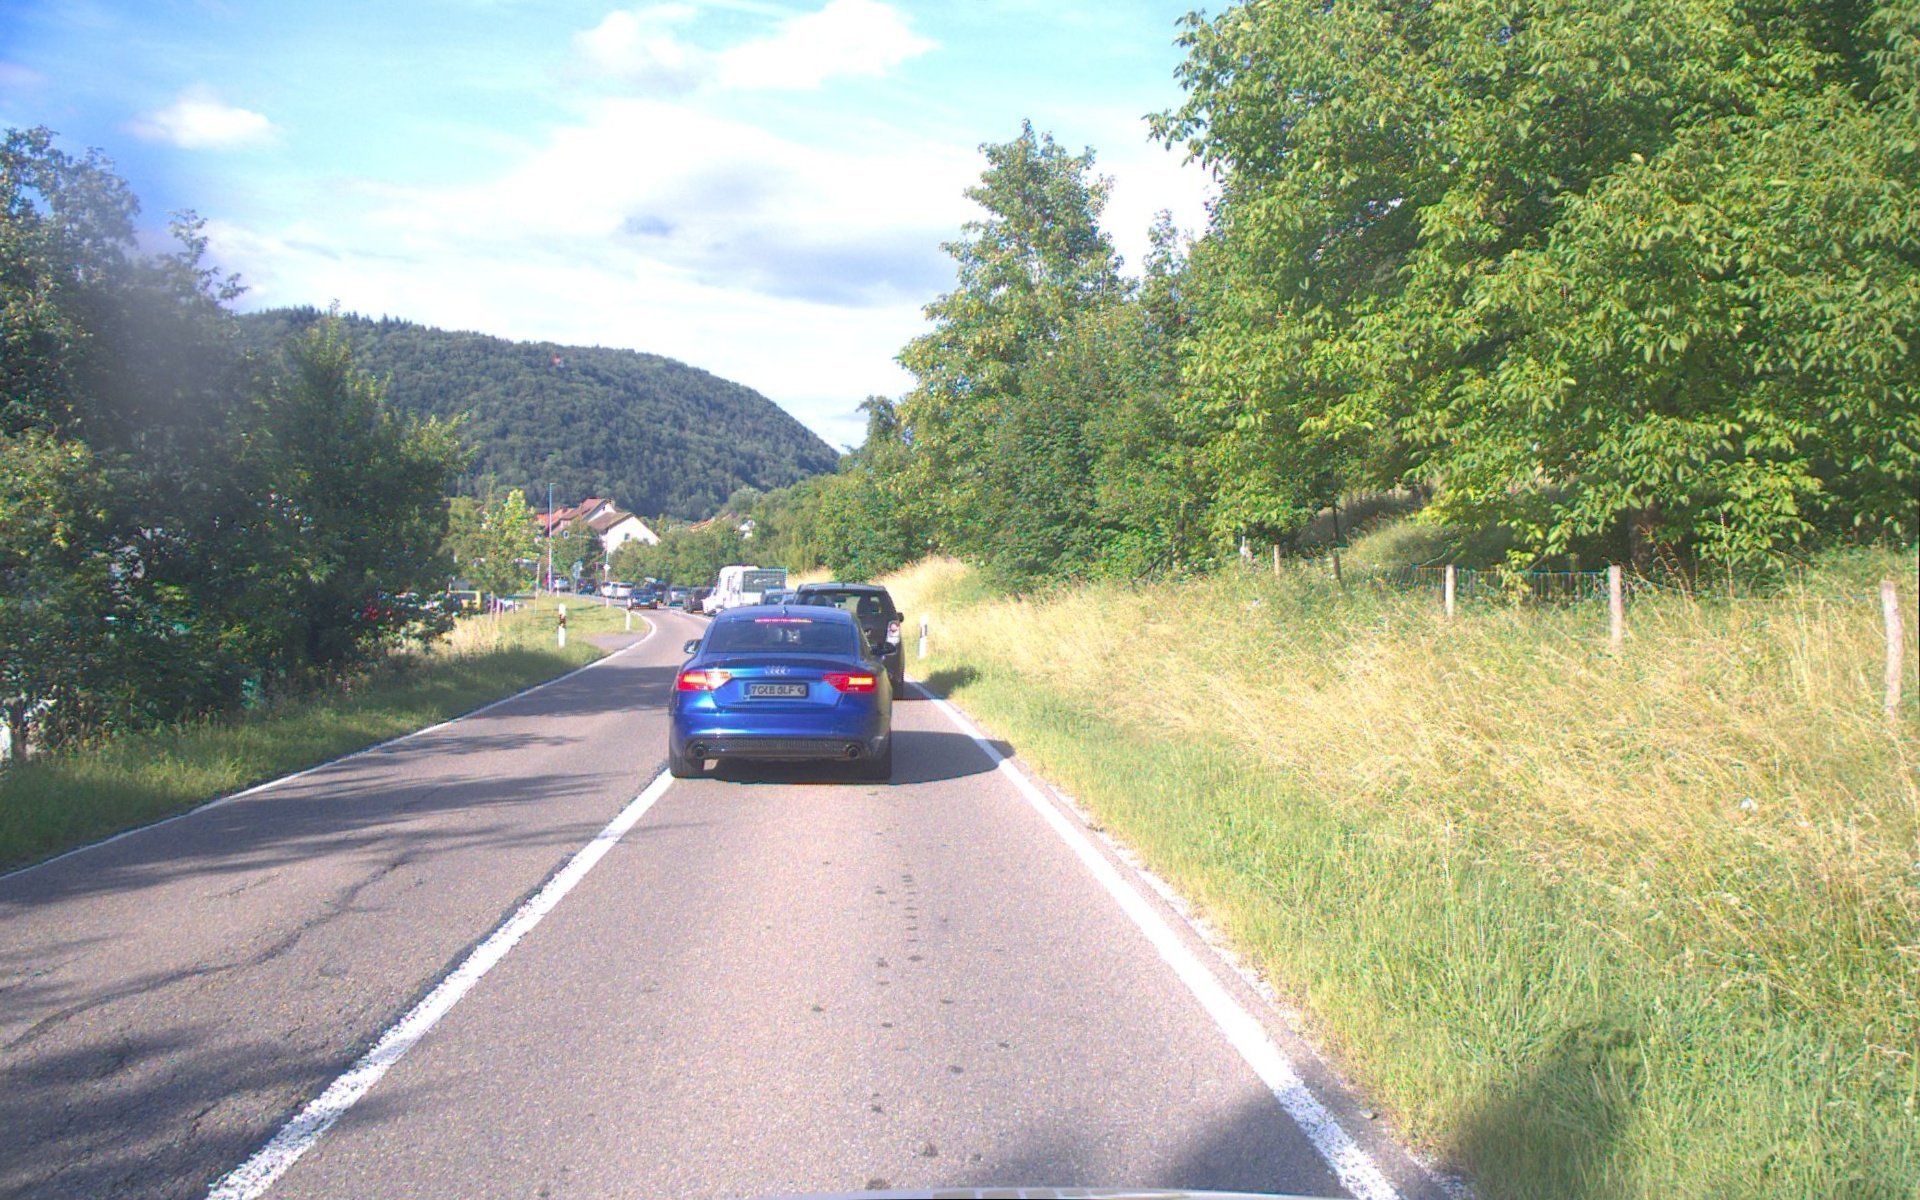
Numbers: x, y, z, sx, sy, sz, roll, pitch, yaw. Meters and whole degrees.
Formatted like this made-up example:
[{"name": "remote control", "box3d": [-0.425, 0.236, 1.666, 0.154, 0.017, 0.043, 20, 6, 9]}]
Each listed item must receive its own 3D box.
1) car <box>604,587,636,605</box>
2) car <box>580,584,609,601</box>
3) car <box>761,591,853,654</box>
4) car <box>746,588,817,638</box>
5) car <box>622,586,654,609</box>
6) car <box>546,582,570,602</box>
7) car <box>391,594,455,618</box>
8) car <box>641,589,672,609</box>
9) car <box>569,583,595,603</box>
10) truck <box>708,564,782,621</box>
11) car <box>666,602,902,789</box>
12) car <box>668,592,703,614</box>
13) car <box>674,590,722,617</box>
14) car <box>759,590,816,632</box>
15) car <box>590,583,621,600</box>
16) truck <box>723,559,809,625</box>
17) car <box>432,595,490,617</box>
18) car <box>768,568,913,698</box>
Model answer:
[{"name": "car", "box3d": [-29.772, -0.375, 144.749, 1.967, 1.508, 3.970, 1, 0, -24]}, {"name": "car", "box3d": [-35.122, -0.720, 158.730, 1.967, 1.508, 3.970, 1, 0, -24]}, {"name": "car", "box3d": [-3.736, 0.517, 39.829, 1.956, 1.411, 3.992, 1, 0, -9]}, {"name": "car", "box3d": [-5.671, 0.401, 52.152, 1.957, 1.508, 3.990, 1, 0, -10]}, {"name": "car", "box3d": [-20.719, -0.157, 106.401, 1.958, 1.400, 3.989, 1, 0, -11]}, {"name": "car", "box3d": [-43.672, -0.881, 179.747, 1.966, 2.049, 3.972, 1, 0, -23]}, {"name": "car", "box3d": [-37.753, 0.443, 116.389, 3.908, 1.580, 1.781, 1, 0, -3]}, {"name": "car", "box3d": [-24.011, -0.097, 130.737, 1.962, 1.508, 3.980, 1, 0, -18]}, {"name": "car", "box3d": [-38.697, -0.718, 169.413, 1.966, 2.049, 3.972, 1, 0, -23]}, {"name": "truck", "box3d": [-11.111, -0.382, 84.652, 2.814, 2.712, 10.612, 1, 0, -12]}, {"name": "car", "box3d": [-1.462, 0.716, 14.385, 1.758, 1.383, 3.996, 0, 0, -4]}, {"name": "car", "box3d": [-19.890, 0.214, 119.638, 1.962, 1.508, 3.980, 1, 0, -18]}, {"name": "car", "box3d": [-15.492, 0.195, 97.602, 1.966, 1.508, 3.974, 1, 0, -22]}, {"name": "car", "box3d": [-6.620, 0.413, 63.059, 1.957, 1.508, 3.992, 1, 0, -9]}, {"name": "car", "box3d": [-32.453, -0.742, 151.240, 1.967, 1.508, 3.970, 1, 0, -24]}, {"name": "truck", "box3d": [-8.836, -0.355, 74.355, 2.814, 2.712, 10.361, 1, 0, -12]}, {"name": "car", "box3d": [-37.725, 0.486, 125.111, 3.908, 1.580, 1.781, 1, 0, -3]}, {"name": "car", "box3d": [-1.748, 0.463, 24.516, 1.954, 1.732, 3.997, 1, 0, -4]}]
